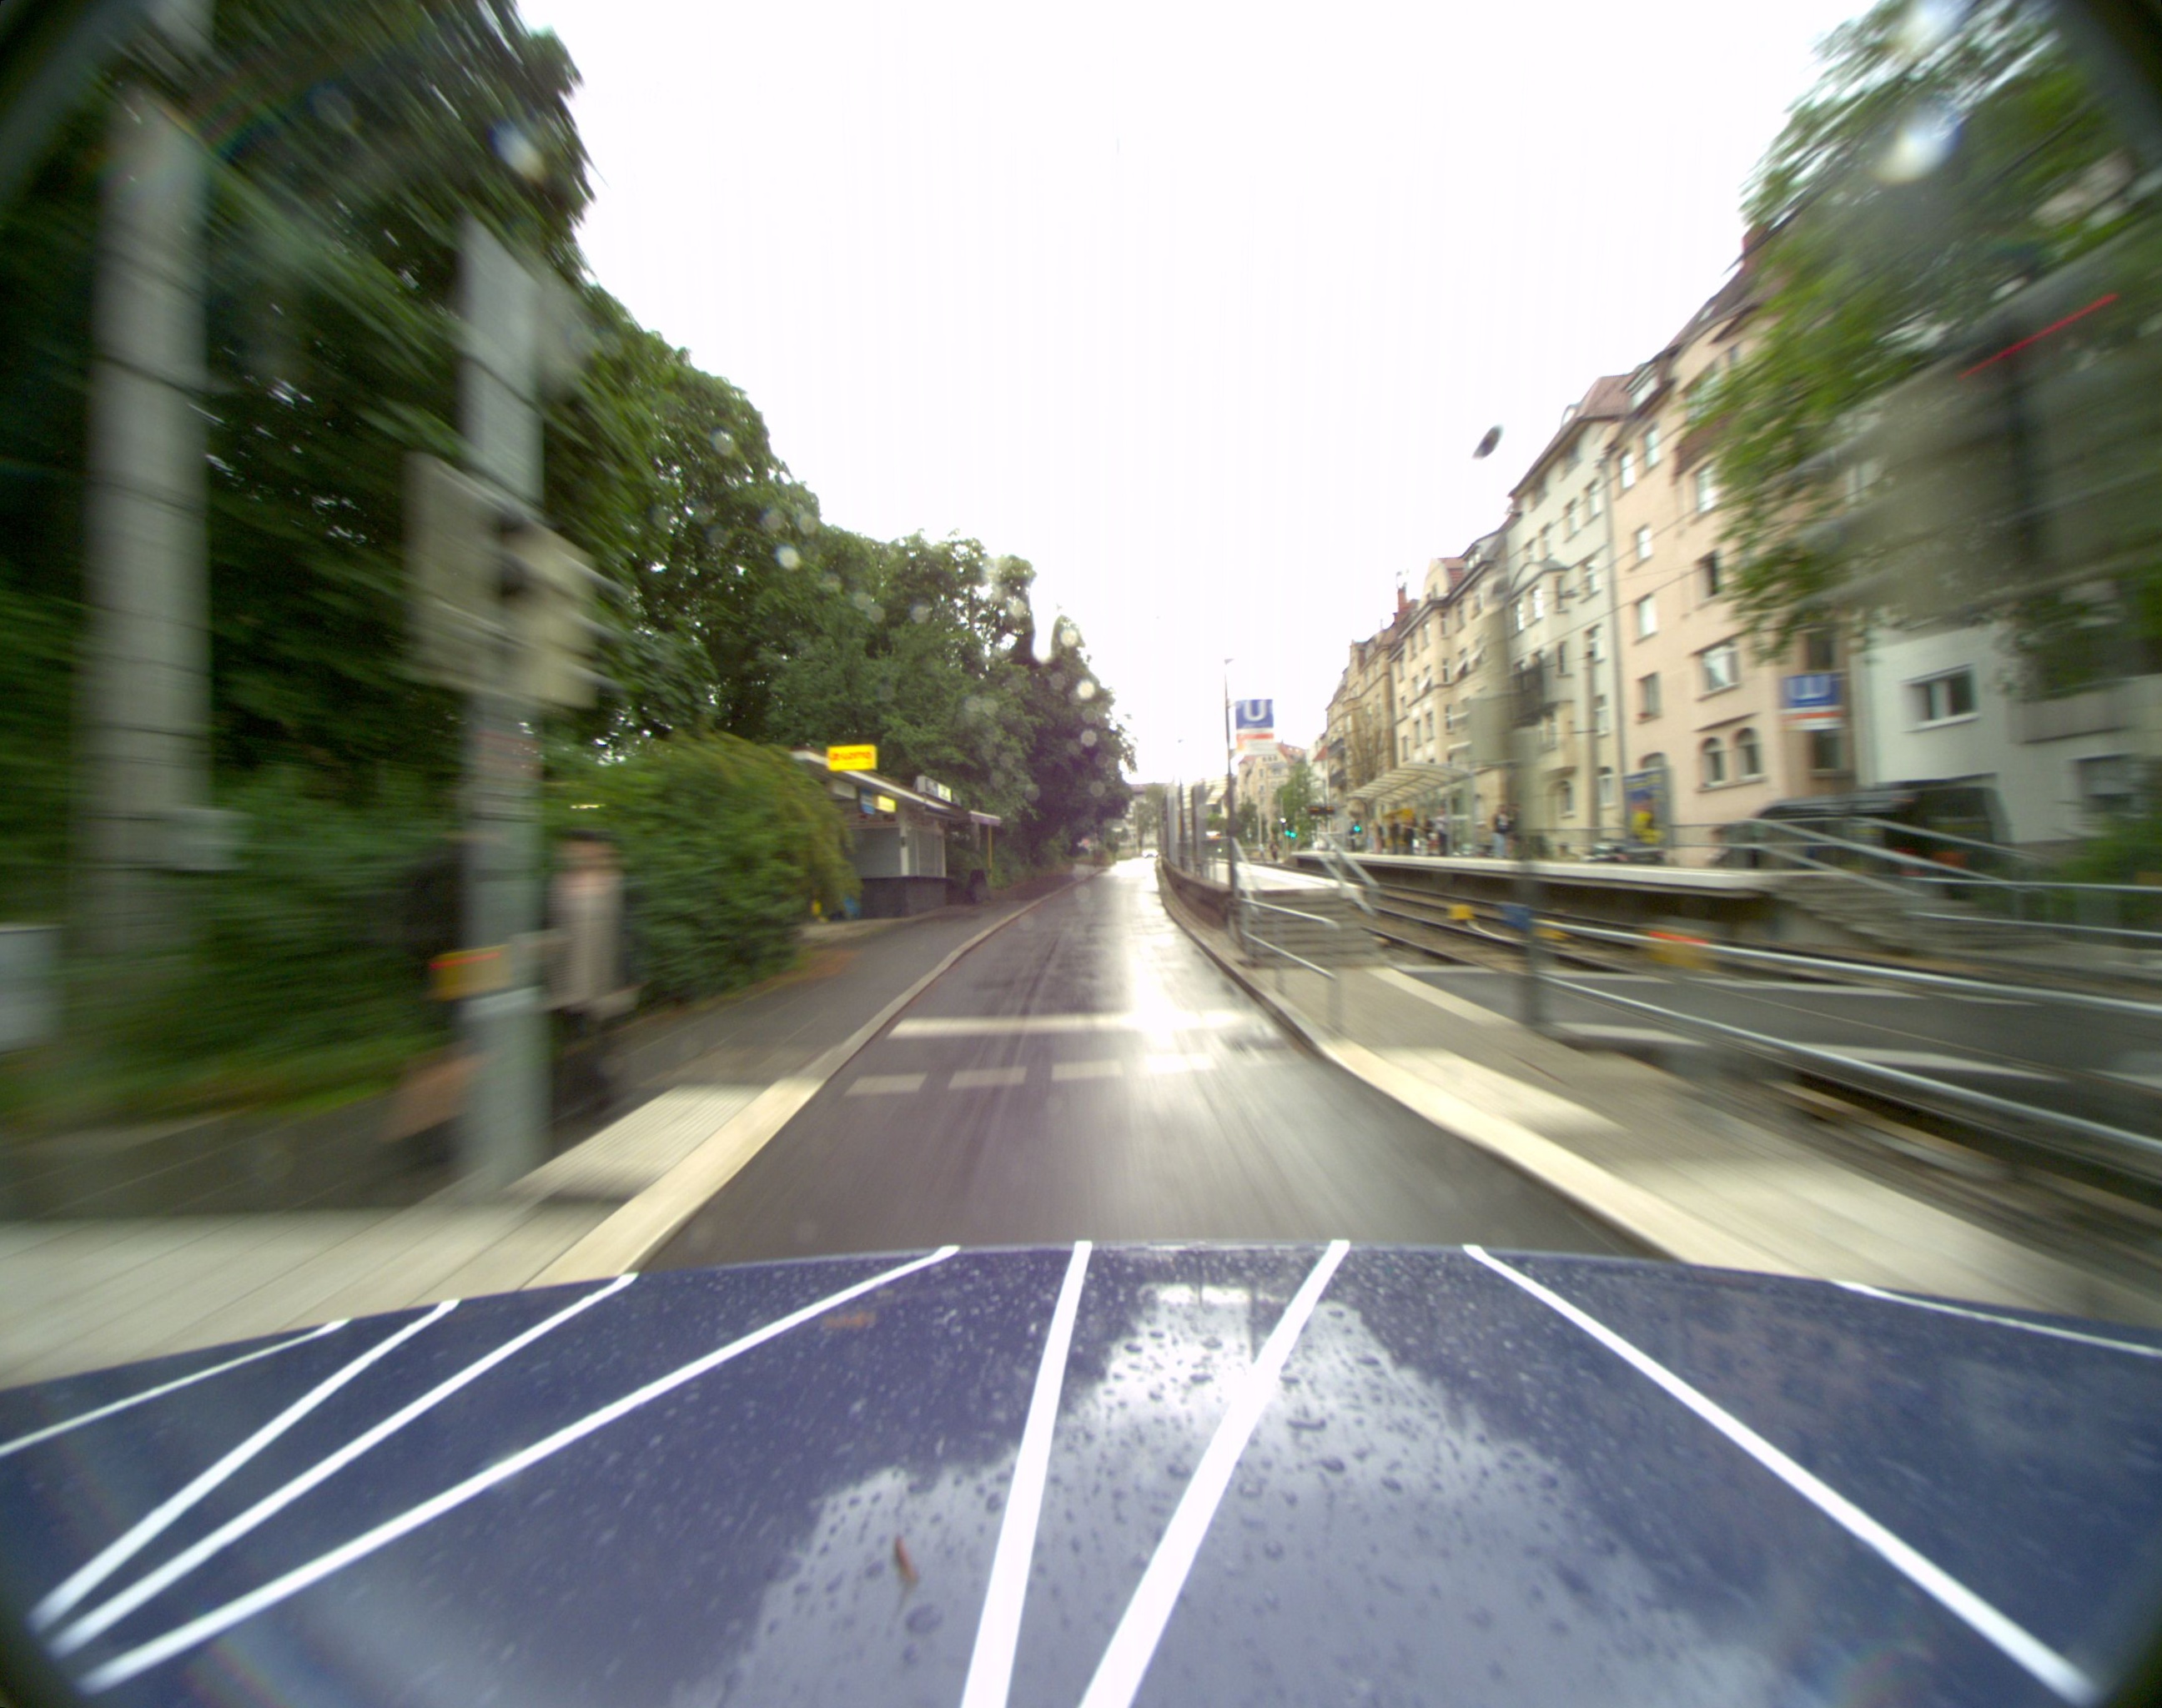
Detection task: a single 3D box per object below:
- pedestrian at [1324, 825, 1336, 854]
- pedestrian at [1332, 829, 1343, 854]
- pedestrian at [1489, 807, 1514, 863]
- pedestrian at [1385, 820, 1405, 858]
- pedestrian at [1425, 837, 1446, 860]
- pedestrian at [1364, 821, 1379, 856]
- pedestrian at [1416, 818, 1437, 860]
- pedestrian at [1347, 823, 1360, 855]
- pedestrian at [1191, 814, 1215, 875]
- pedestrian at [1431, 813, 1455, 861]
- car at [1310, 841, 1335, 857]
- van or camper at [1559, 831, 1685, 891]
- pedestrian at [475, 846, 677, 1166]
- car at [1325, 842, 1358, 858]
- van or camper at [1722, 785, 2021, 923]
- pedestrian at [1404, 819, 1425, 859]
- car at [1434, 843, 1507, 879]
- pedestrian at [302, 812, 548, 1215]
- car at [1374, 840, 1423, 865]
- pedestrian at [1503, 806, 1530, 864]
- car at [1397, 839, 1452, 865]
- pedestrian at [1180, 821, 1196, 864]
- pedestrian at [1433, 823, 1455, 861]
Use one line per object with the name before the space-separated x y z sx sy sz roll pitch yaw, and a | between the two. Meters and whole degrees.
pedestrian | 15.839 -0.928 48.340 0.562 1.839 0.599 0 2 5
pedestrian | 16.141 -0.794 47.734 0.517 1.596 0.563 0 2 5
pedestrian | 13.182 -0.591 23.837 0.483 1.731 0.563 0 2 5
pedestrian | 14.079 -0.675 34.063 0.595 1.656 0.762 0 2 5
pedestrian | 13.752 -0.214 29.448 0.551 0.867 0.614 0 2 5
pedestrian | 15.273 -0.802 39.936 0.517 1.827 0.762 0 2 5
pedestrian | 13.908 -0.609 30.586 0.551 1.656 0.614 0 2 5
pedestrian | 15.582 -0.868 43.464 0.517 1.827 0.762 0 2 5
pedestrian | 3.684 -0.281 22.940 0.591 1.797 0.661 -2 1 4
pedestrian | 13.028 -0.607 27.347 0.551 1.731 0.614 0 2 5
car | 25.376 -0.540 79.936 1.634 1.538 4.176 -1 1 6
van or camper | 19.474 0.223 27.606 1.998 2.002 4.001 0 0 5
pedestrian | -2.820 0.807 4.294 0.696 1.685 0.556 -2 1 5
car | 24.137 -0.363 70.493 1.721 1.434 4.869 -1 1 5
van or camper | 18.107 0.004 17.874 1.998 2.789 4.863 0 0 1
pedestrian | 13.913 -0.631 31.718 0.595 1.656 0.591 0 2 5
car | 20.531 0.336 40.293 1.997 1.722 4.815 0 2 8
pedestrian | -3.163 0.719 3.726 0.555 1.803 0.651 -2 1 3
car | 22.638 -0.135 54.325 1.998 1.524 4.533 -3 2 6
pedestrian | 13.307 -0.578 23.232 0.483 1.731 0.563 0 2 5
car | 21.938 -0.141 48.733 1.927 1.613 4.537 0 1 7
pedestrian | 4.677 -0.497 33.189 0.591 1.870 0.711 -2 1 4
pedestrian | 13.631 -0.467 28.550 0.551 1.405 0.614 0 2 5
